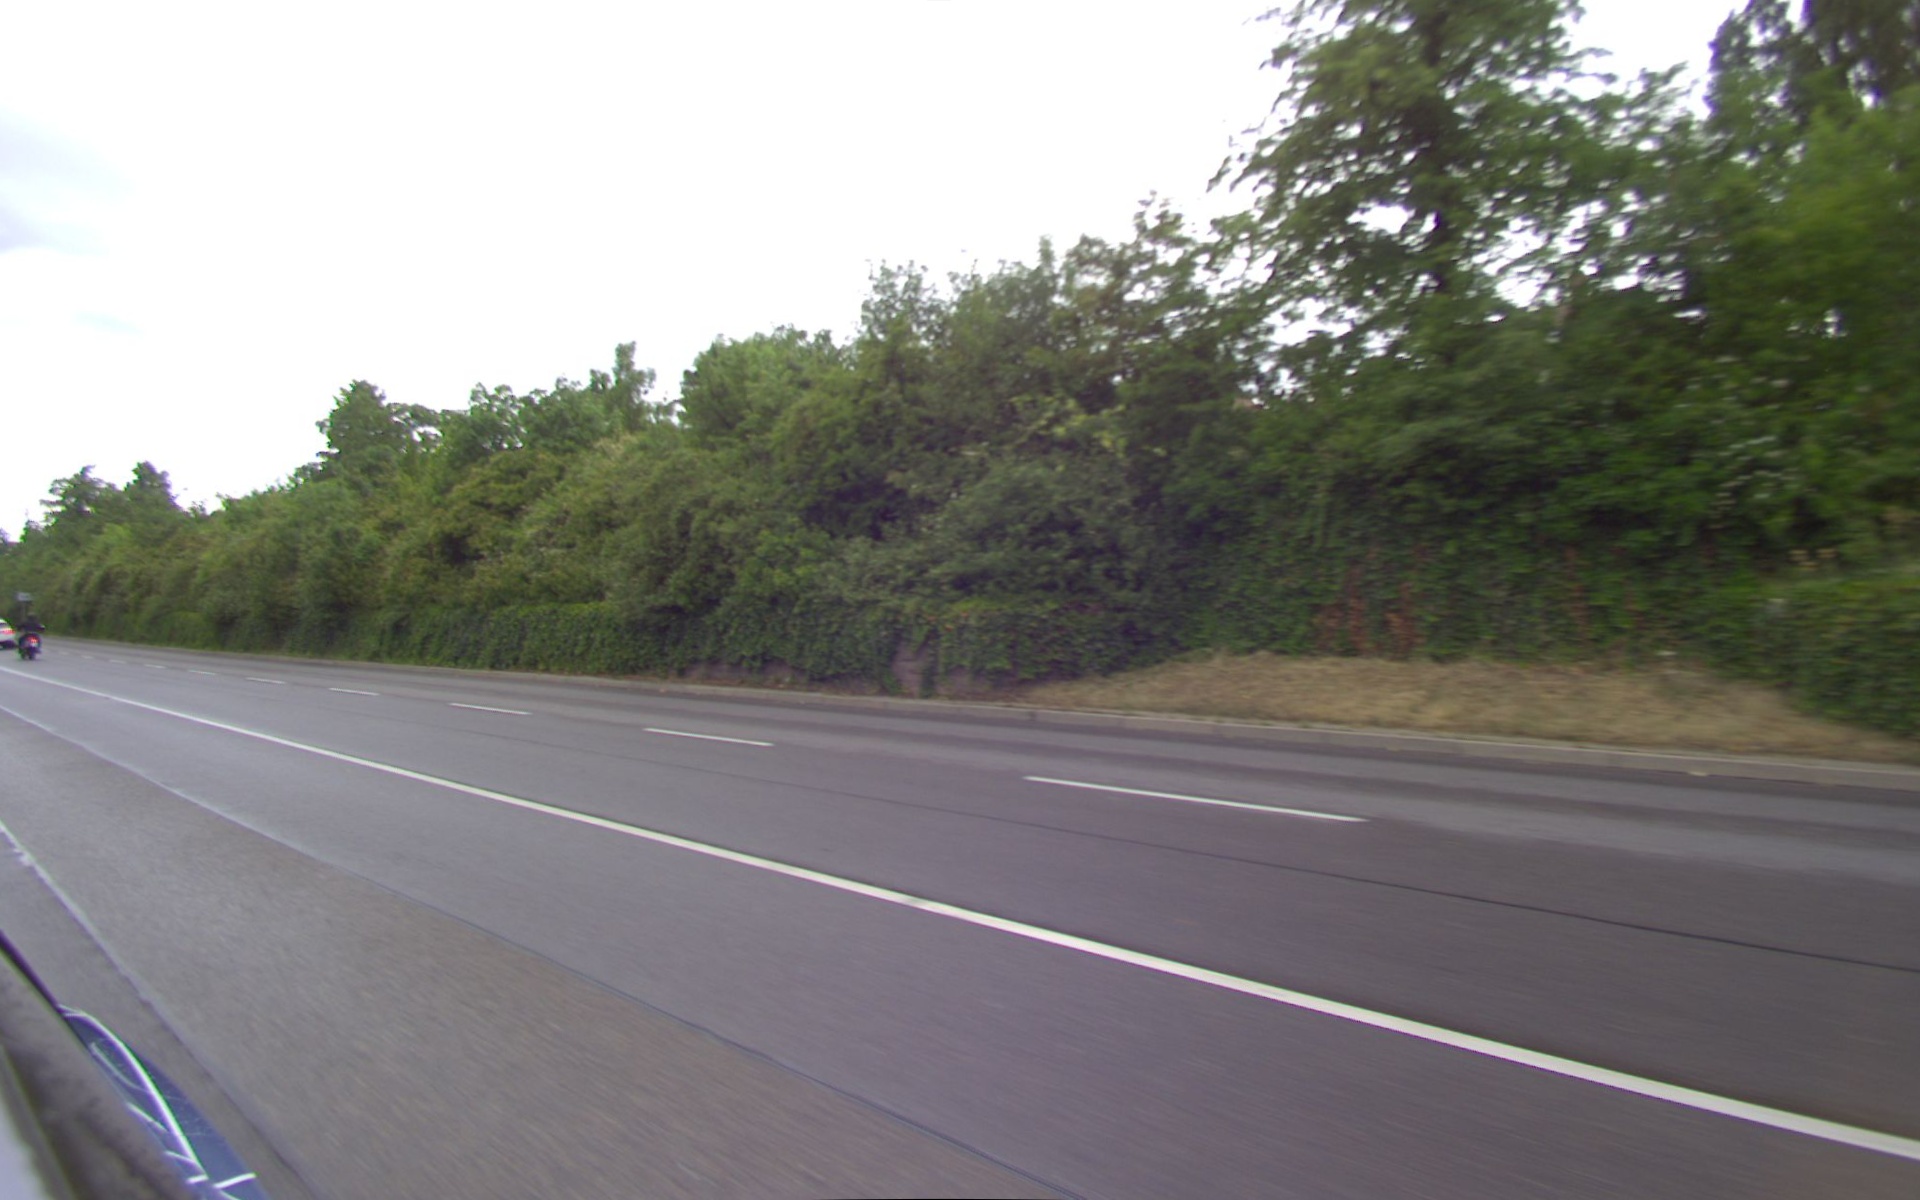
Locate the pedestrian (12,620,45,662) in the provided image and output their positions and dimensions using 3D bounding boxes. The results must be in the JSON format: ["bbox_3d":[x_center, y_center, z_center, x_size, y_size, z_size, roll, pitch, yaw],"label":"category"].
[{"bbox_3d":[-35.171,1.532,38.216,1.111,1.553,0.797,-1,-1,41],"label":"pedestrian"}]

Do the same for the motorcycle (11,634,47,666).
[{"bbox_3d":[-35.181,1.856,38.225,2.230,1.140,0.797,-1,-1,42],"label":"motorcycle"}]

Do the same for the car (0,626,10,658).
[{"bbox_3d":[-47.728,2.065,49.323,4.515,1.516,1.697,-1,0,42],"label":"car"}]
